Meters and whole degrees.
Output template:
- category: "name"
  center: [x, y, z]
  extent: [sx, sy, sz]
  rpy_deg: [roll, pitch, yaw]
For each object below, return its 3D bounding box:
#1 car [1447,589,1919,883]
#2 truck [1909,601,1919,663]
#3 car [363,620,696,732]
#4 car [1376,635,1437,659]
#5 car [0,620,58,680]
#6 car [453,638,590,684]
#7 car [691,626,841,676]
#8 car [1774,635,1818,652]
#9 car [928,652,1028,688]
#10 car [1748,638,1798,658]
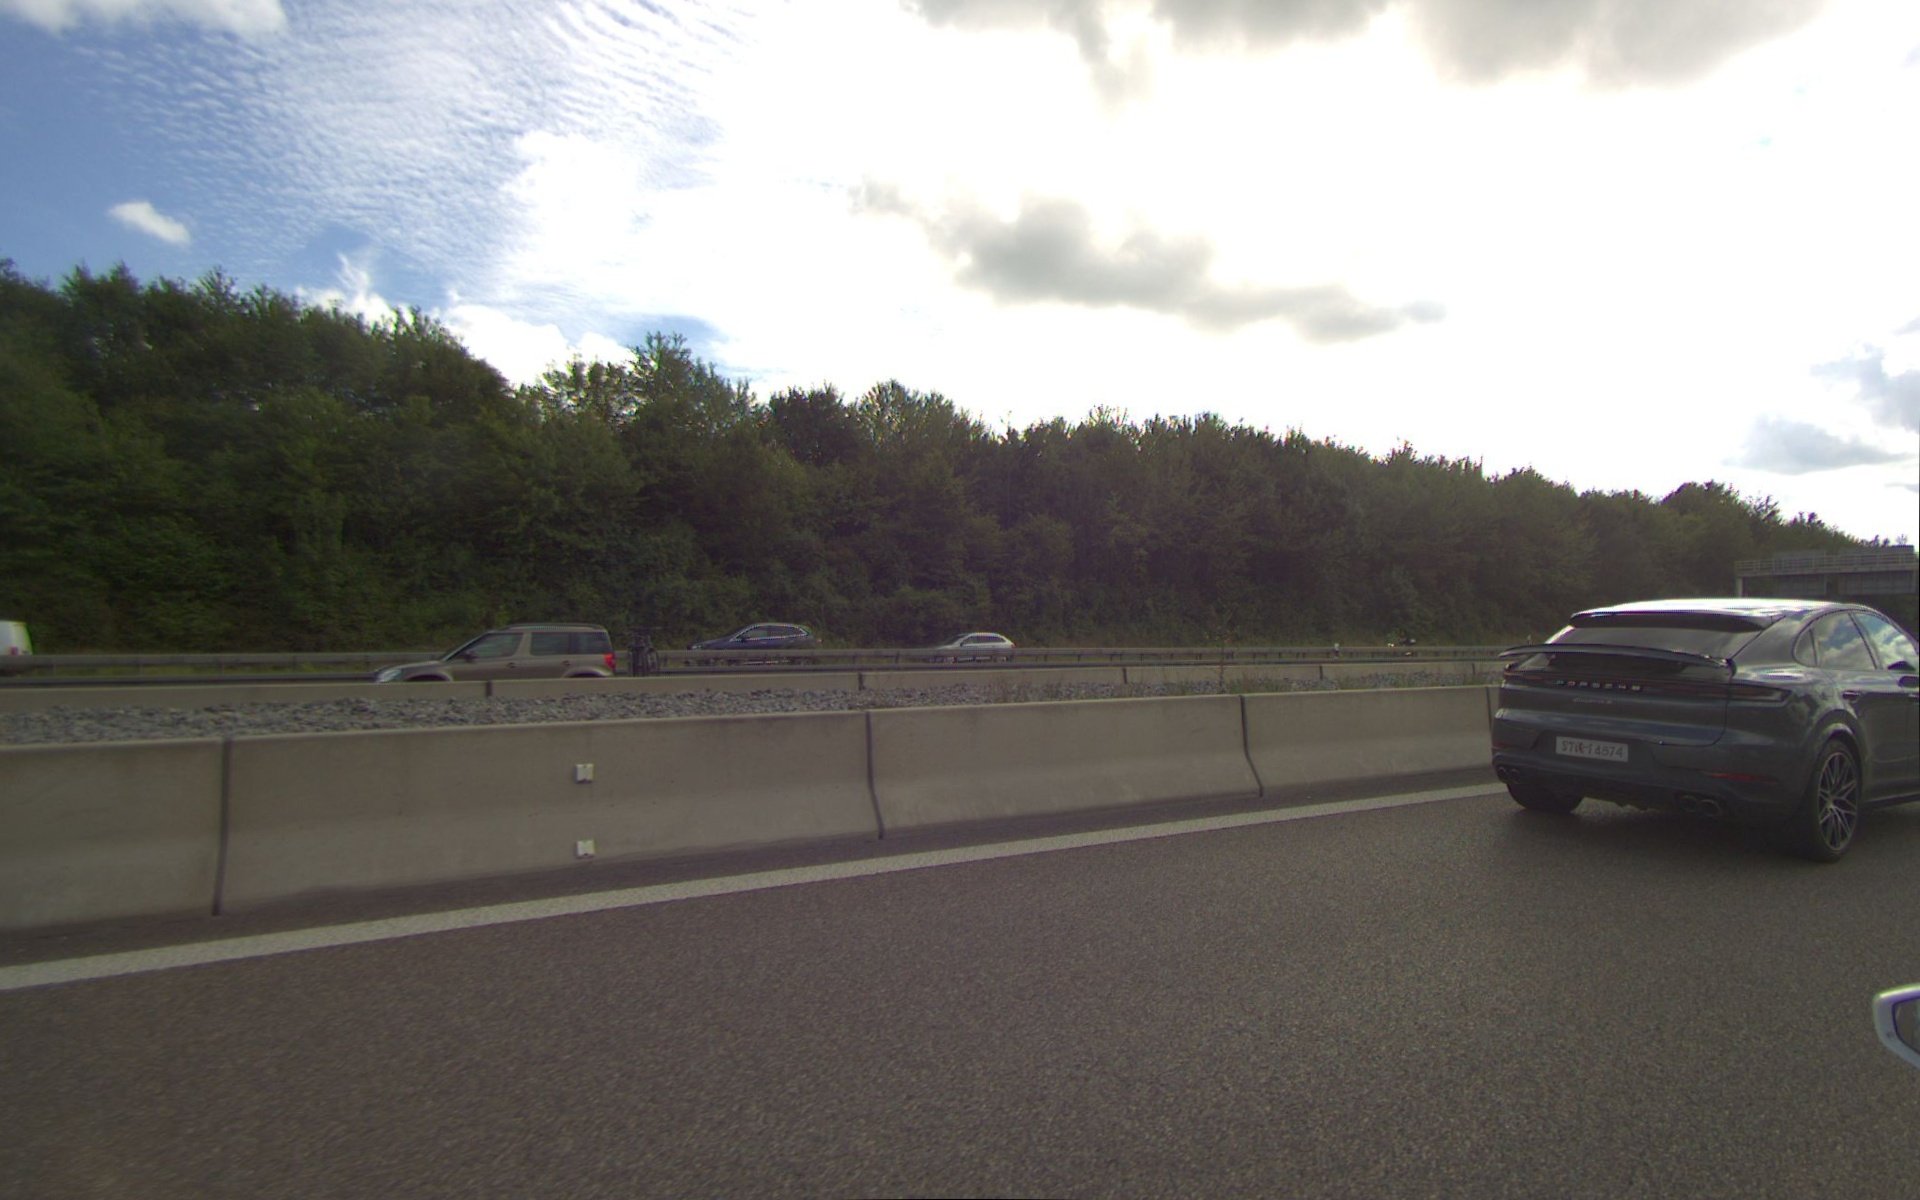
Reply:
- category: "car"
  center: [6.366, 0.829, 7.883]
  extent: [5.436, 1.658, 1.903]
  rpy_deg: [1, -1, -31]
- category: "truck"
  center: [55.384, 1.783, 55.438]
  extent: [7.735, 3.307, 2.342]
  rpy_deg: [1, -1, -31]
- category: "car"
  center: [-7.844, 1.312, 18.567]
  extent: [5.440, 1.809, 1.825]
  rpy_deg: [1, -2, -31]
- category: "car"
  center: [28.850, 2.995, 64.865]
  extent: [4.133, 1.514, 1.584]
  rpy_deg: [1, -2, -31]
- category: "car"
  center: [-29.805, 1.482, 29.815]
  extent: [4.233, 1.781, 1.584]
  rpy_deg: [1, -2, -31]
- category: "car"
  center: [-14.649, 1.995, 33.606]
  extent: [4.062, 1.446, 1.495]
  rpy_deg: [1, -2, -31]
- category: "car"
  center: [-6.636, 1.730, 34.516]
  extent: [4.710, 1.613, 1.985]
  rpy_deg: [1, -2, -30]
- category: "car"
  center: [69.597, 3.586, 83.615]
  extent: [4.005, 1.383, 1.556]
  rpy_deg: [1, -1, -31]
- category: "car"
  center: [0.847, 3.191, 46.250]
  extent: [4.458, 1.514, 1.584]
  rpy_deg: [1, -2, -31]
- category: "car"
  center: [58.682, 3.461, 72.498]
  extent: [4.005, 1.383, 1.556]
  rpy_deg: [1, -1, -31]
